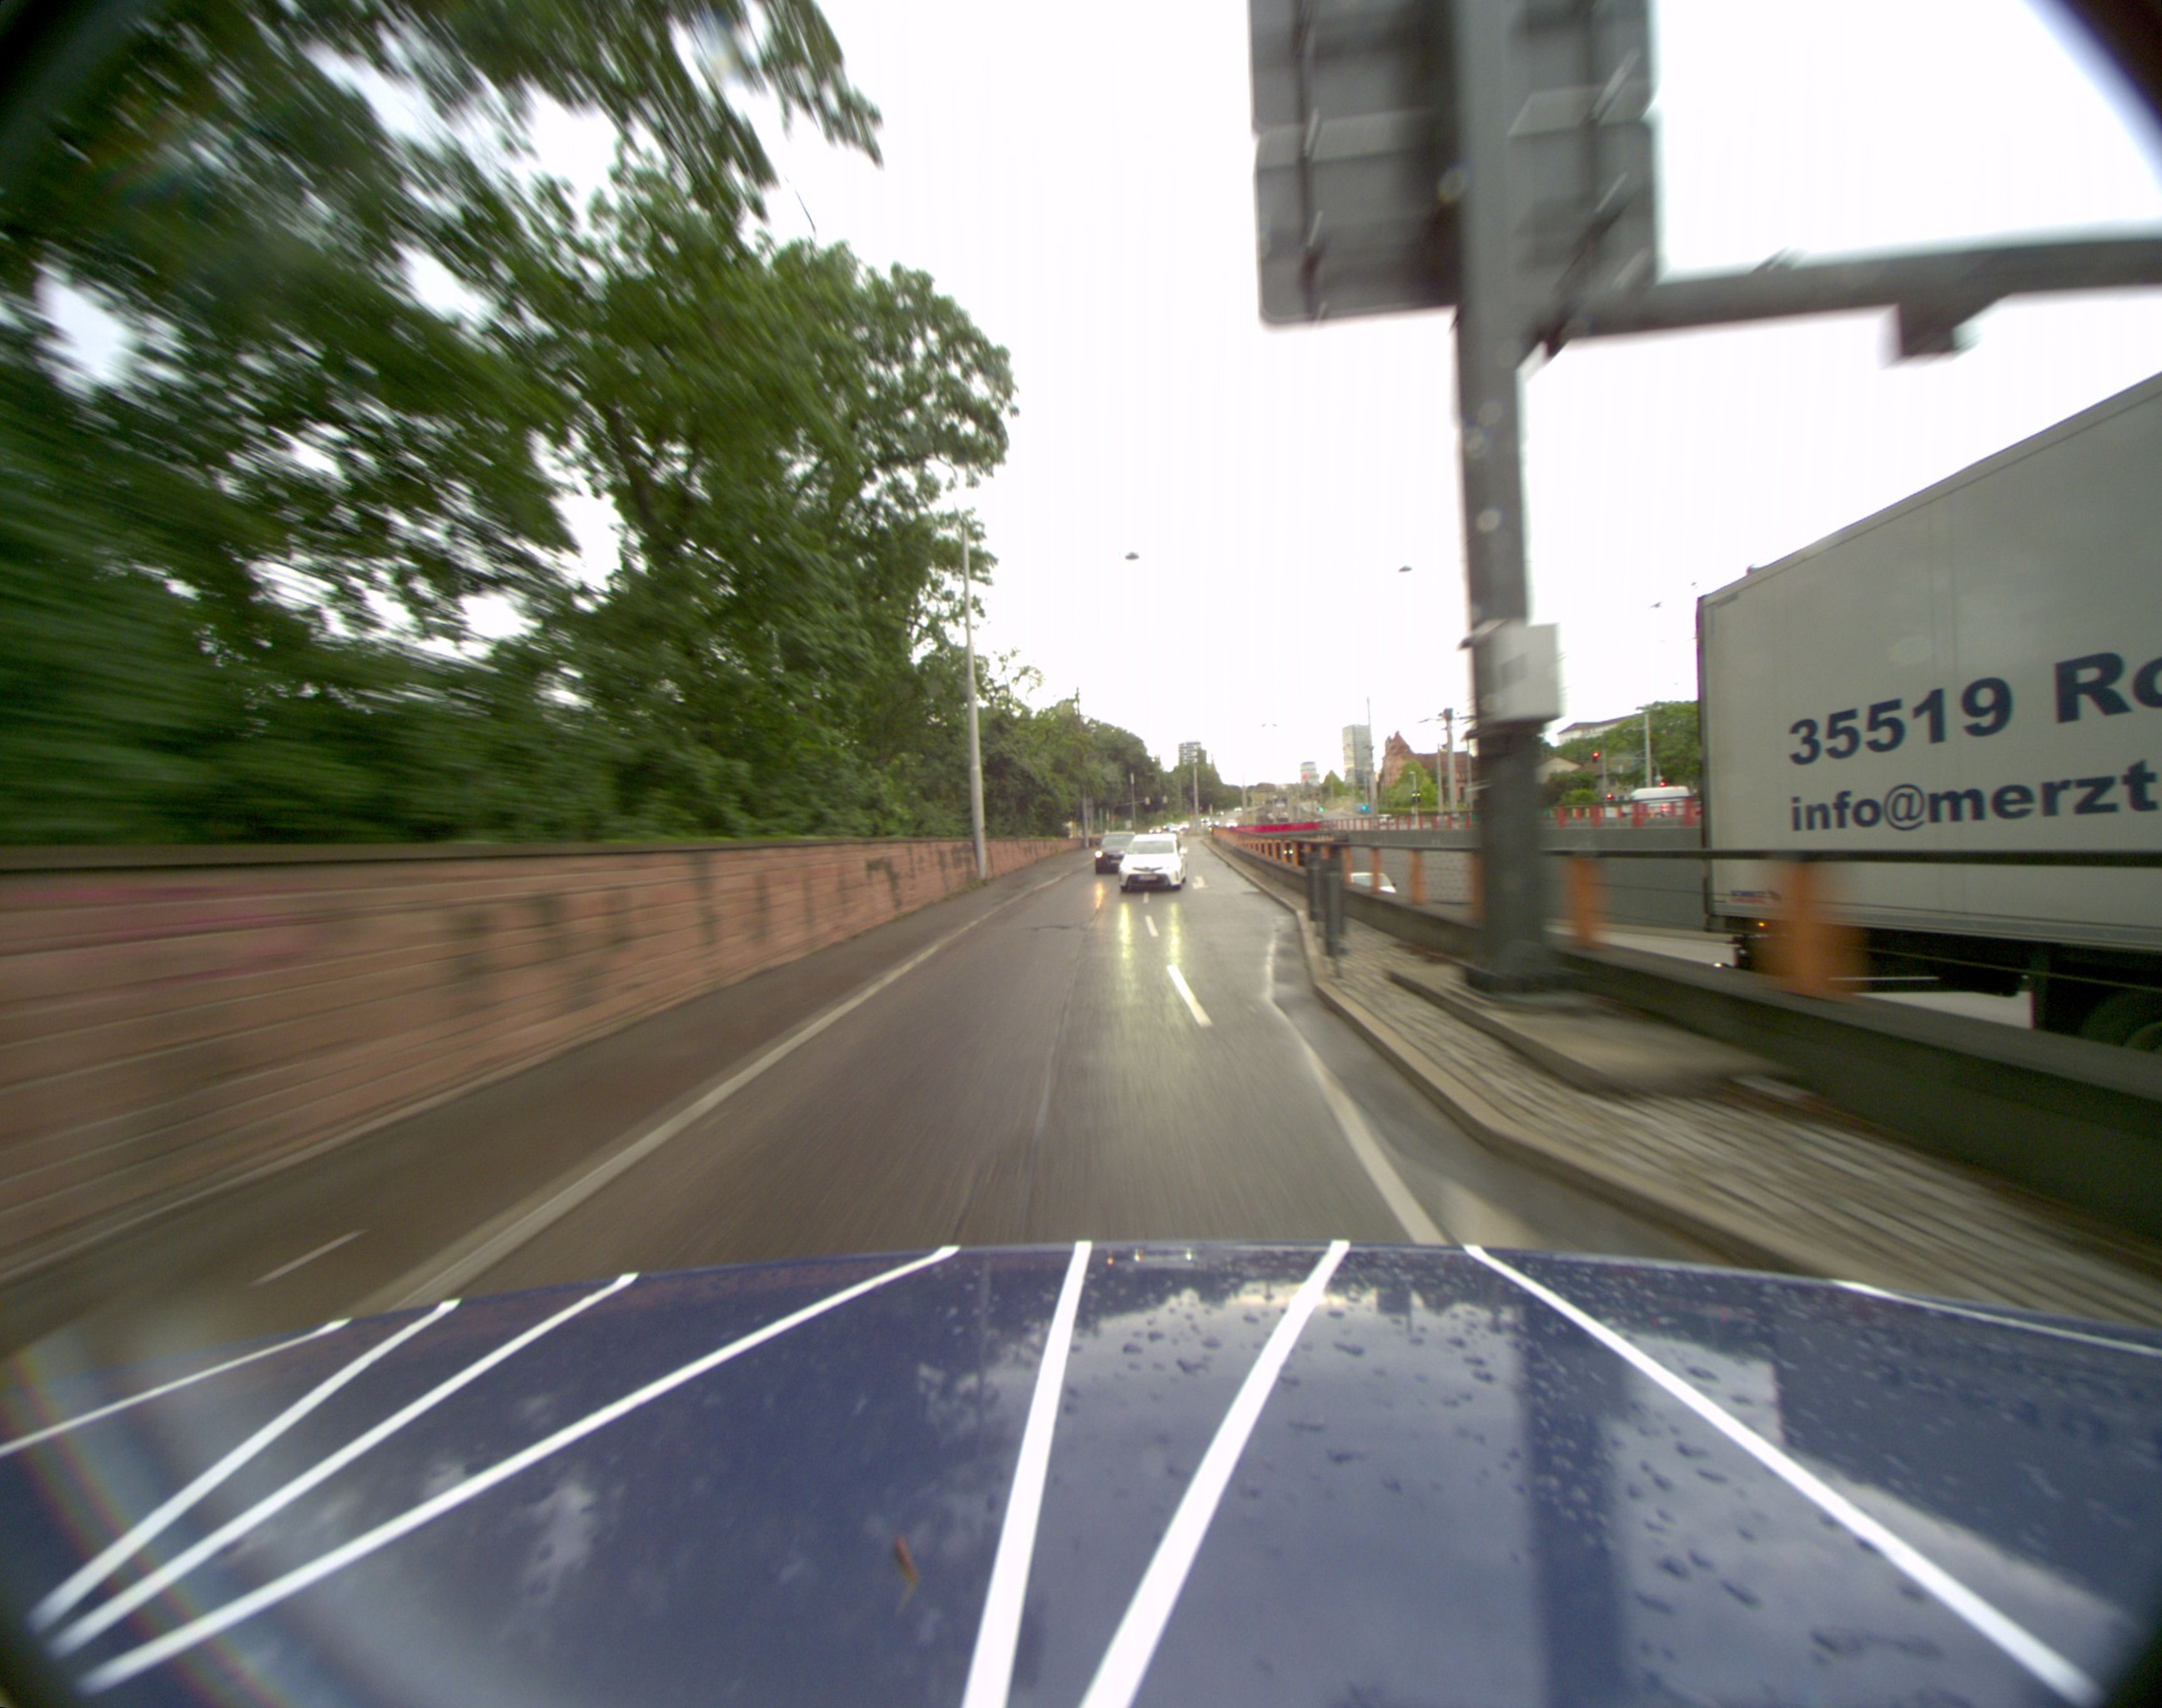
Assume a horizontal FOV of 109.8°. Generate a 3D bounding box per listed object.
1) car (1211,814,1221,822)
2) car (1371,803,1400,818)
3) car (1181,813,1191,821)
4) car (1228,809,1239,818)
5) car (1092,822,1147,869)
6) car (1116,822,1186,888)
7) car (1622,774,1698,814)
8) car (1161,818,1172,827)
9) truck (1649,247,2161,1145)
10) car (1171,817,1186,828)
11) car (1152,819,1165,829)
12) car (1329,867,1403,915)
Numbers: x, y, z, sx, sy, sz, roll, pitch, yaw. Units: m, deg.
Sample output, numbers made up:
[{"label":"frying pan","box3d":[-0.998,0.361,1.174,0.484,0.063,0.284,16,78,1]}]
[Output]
[{"label":"car","box3d":[27.943,-7.507,157.375,1.800,1.464,4.000,-3,4,9]},{"label":"car","box3d":[45.400,-6.527,113.249,2.000,2.004,3.992,-5,5,-13]},{"label":"car","box3d":[20.534,-7.196,148.223,1.801,1.503,4.002,-3,1,8]},{"label":"car","box3d":[29.608,-7.876,147.440,1.736,1.579,4.002,-2,4,17]},{"label":"car","box3d":[1.651,-0.400,31.344,1.855,1.579,3.999,-3,4,8]},{"label":"car","box3d":[2.209,-0.058,23.020,1.855,1.742,4.000,-1,3,8]},{"label":"car","box3d":[43.861,-4.470,57.779,1.997,2.816,5.718,-1,3,7]},{"label":"car","box3d":[16.973,-6.203,149.996,1.888,1.463,4.011,-3,1,10]},{"label":"truck","box3d":[6.153,-0.670,0.581,2.768,4.173,13.032,-1,2,5]},{"label":"car","box3d":[16.122,-5.177,125.919,1.736,1.579,4.002,-2,4,17]},{"label":"car","box3d":[13.090,-5.102,128.377,1.888,1.463,4.011,-3,1,10]},{"label":"car","box3d":[13.146,1.662,35.394,1.998,2.014,4.689,-3,-1,6]}]
